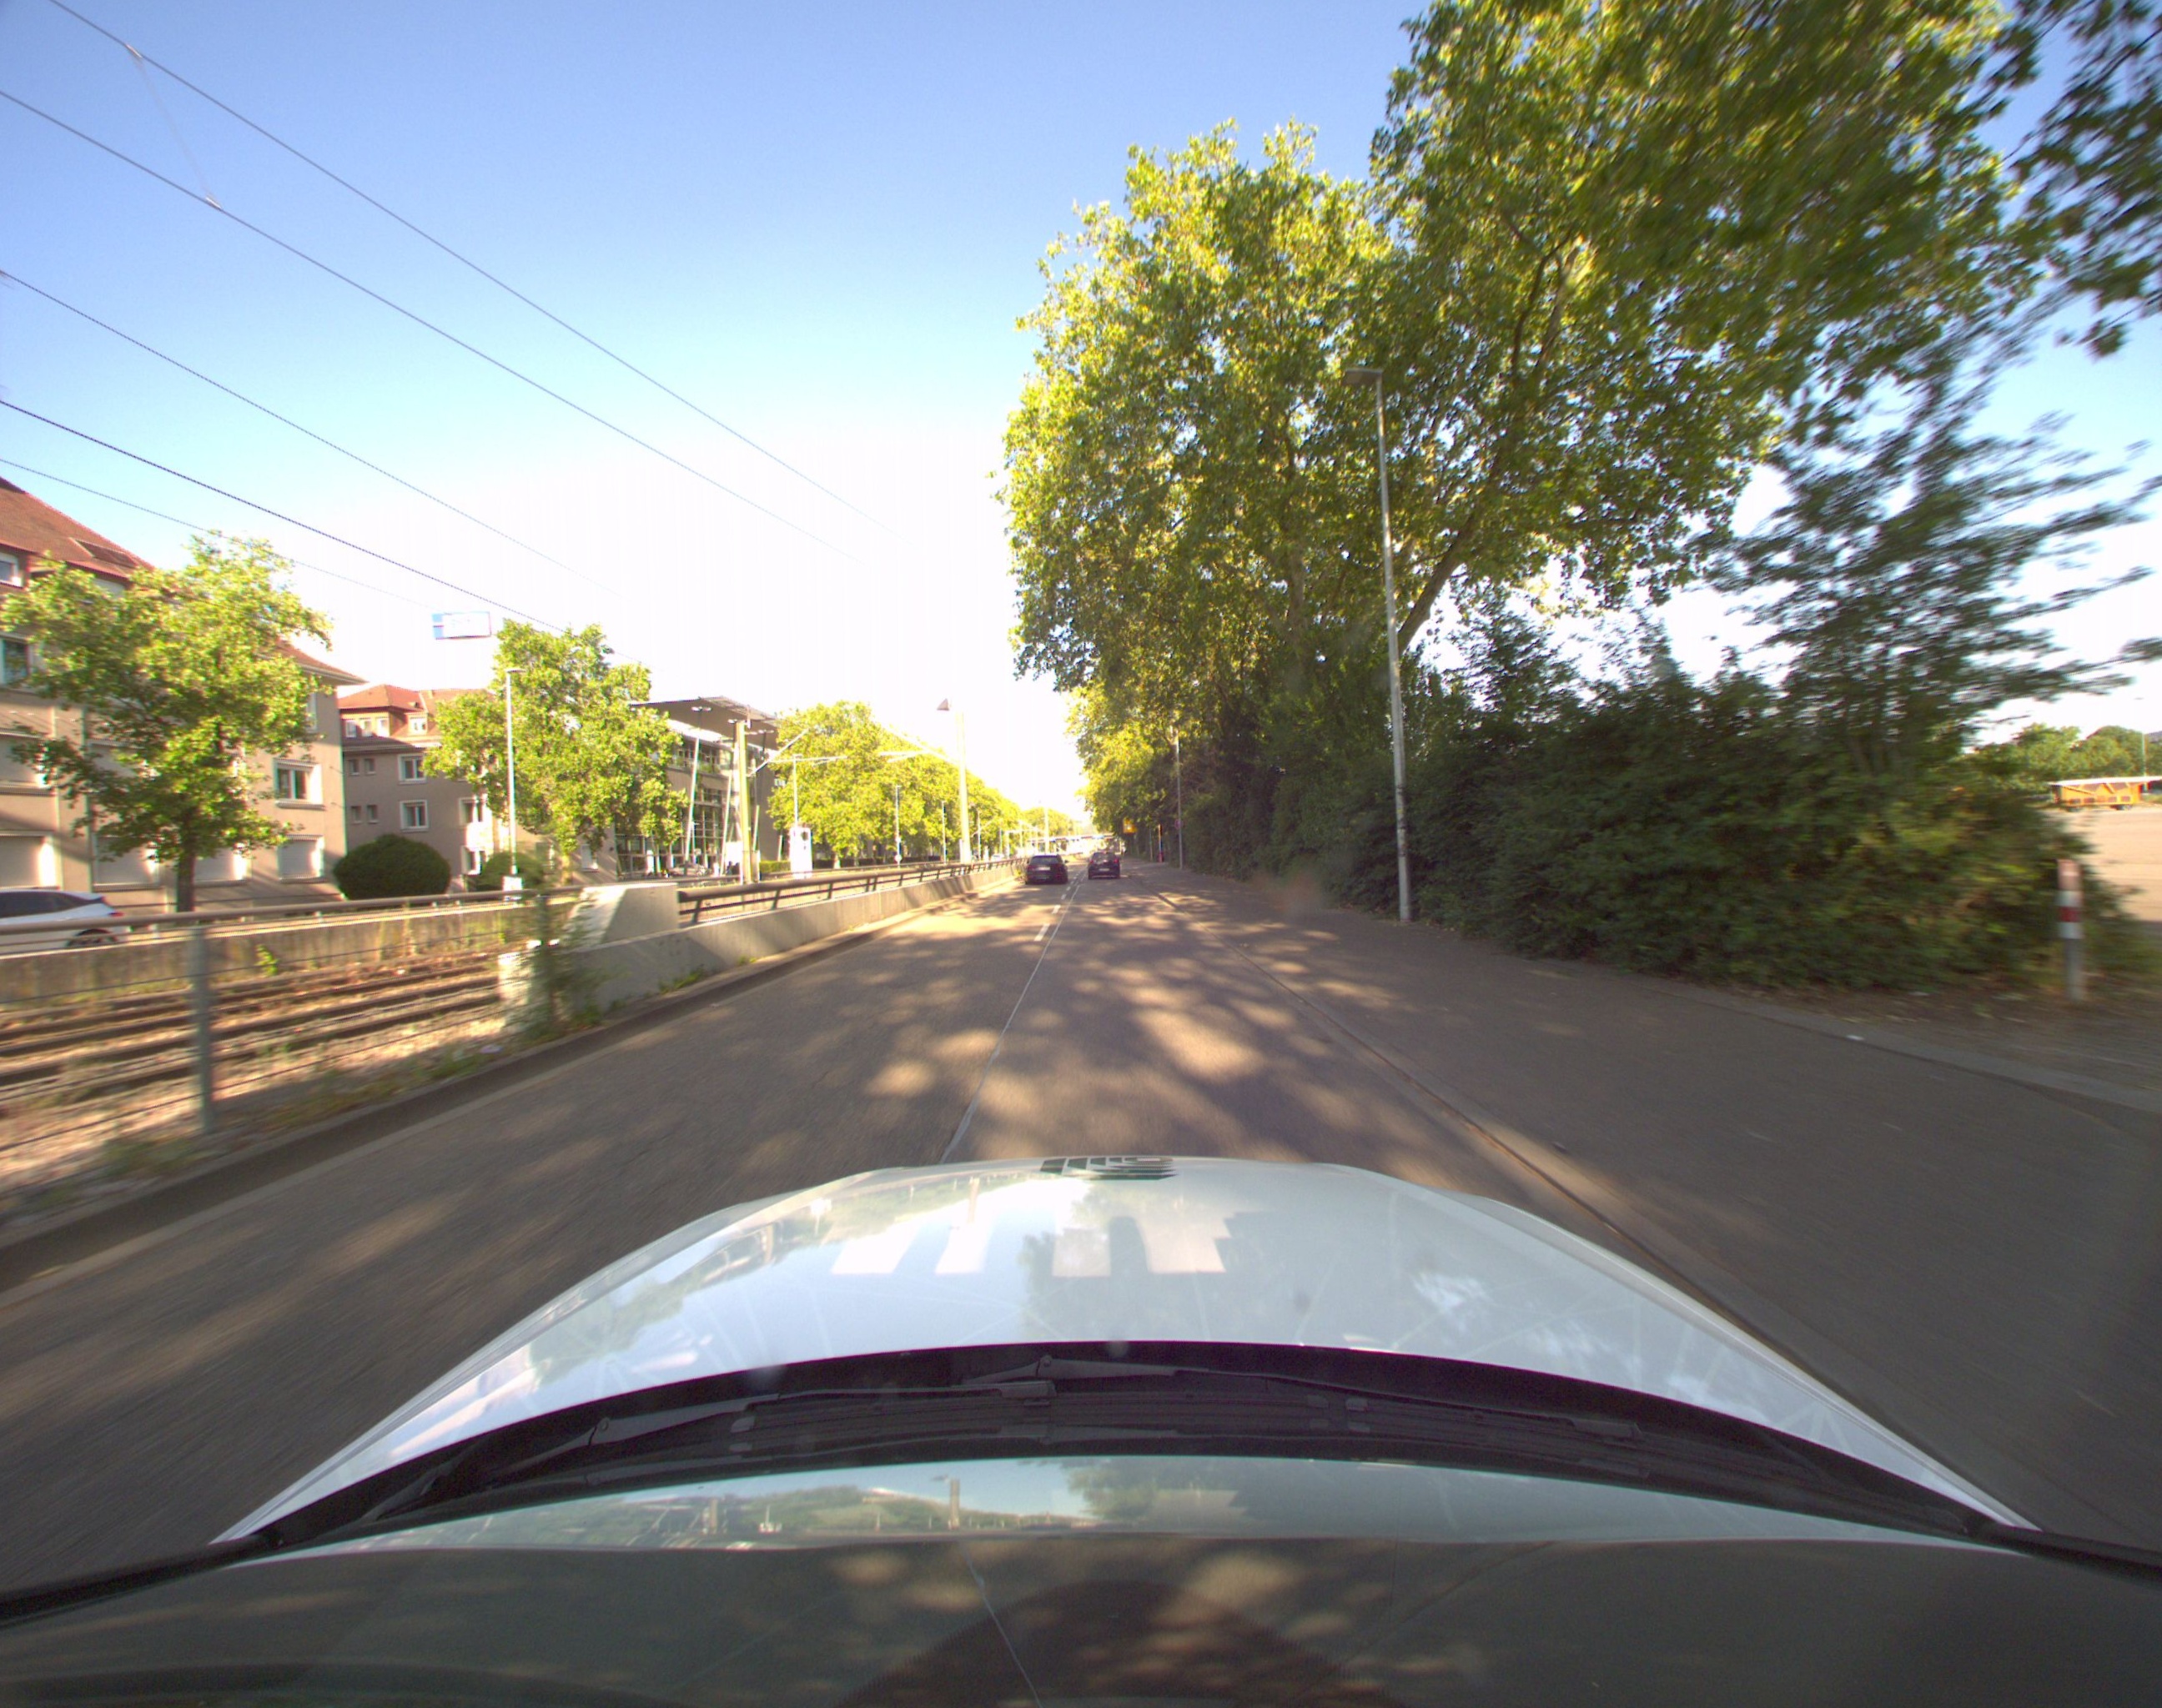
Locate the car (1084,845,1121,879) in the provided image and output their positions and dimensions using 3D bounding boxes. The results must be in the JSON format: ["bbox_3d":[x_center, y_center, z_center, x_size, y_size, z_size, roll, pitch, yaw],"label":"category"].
[{"bbox_3d":[1.094,0.406,43.512,1.757,1.619,3.999,-3,1,0],"label":"car"}]

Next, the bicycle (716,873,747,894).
[{"bbox_3d":[-27.489,2.302,64.161,0.927,1.486,3.177,-4,1,0],"label":"bicycle"}]

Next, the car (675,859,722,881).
[{"bbox_3d":[-41.283,1.693,87.942,3.973,2.013,2.000,-4,1,0],"label":"car"}]

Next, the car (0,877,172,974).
[{"bbox_3d":[-19.103,1.284,14.149,1.986,1.530,4.002,-2,0,2],"label":"car"}]

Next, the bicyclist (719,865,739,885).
[{"bbox_3d":[-27.475,1.626,63.589,0.927,1.486,1.272,-4,1,0],"label":"bicyclist"}]

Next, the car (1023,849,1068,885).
[{"bbox_3d":[-1.596,0.555,37.908,1.872,1.457,3.356,-3,1,-1],"label":"car"}]

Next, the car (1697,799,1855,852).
[{"bbox_3d":[23.100,-0.934,27.148,3.828,1.530,1.741,-3,0,-2],"label":"car"}]
